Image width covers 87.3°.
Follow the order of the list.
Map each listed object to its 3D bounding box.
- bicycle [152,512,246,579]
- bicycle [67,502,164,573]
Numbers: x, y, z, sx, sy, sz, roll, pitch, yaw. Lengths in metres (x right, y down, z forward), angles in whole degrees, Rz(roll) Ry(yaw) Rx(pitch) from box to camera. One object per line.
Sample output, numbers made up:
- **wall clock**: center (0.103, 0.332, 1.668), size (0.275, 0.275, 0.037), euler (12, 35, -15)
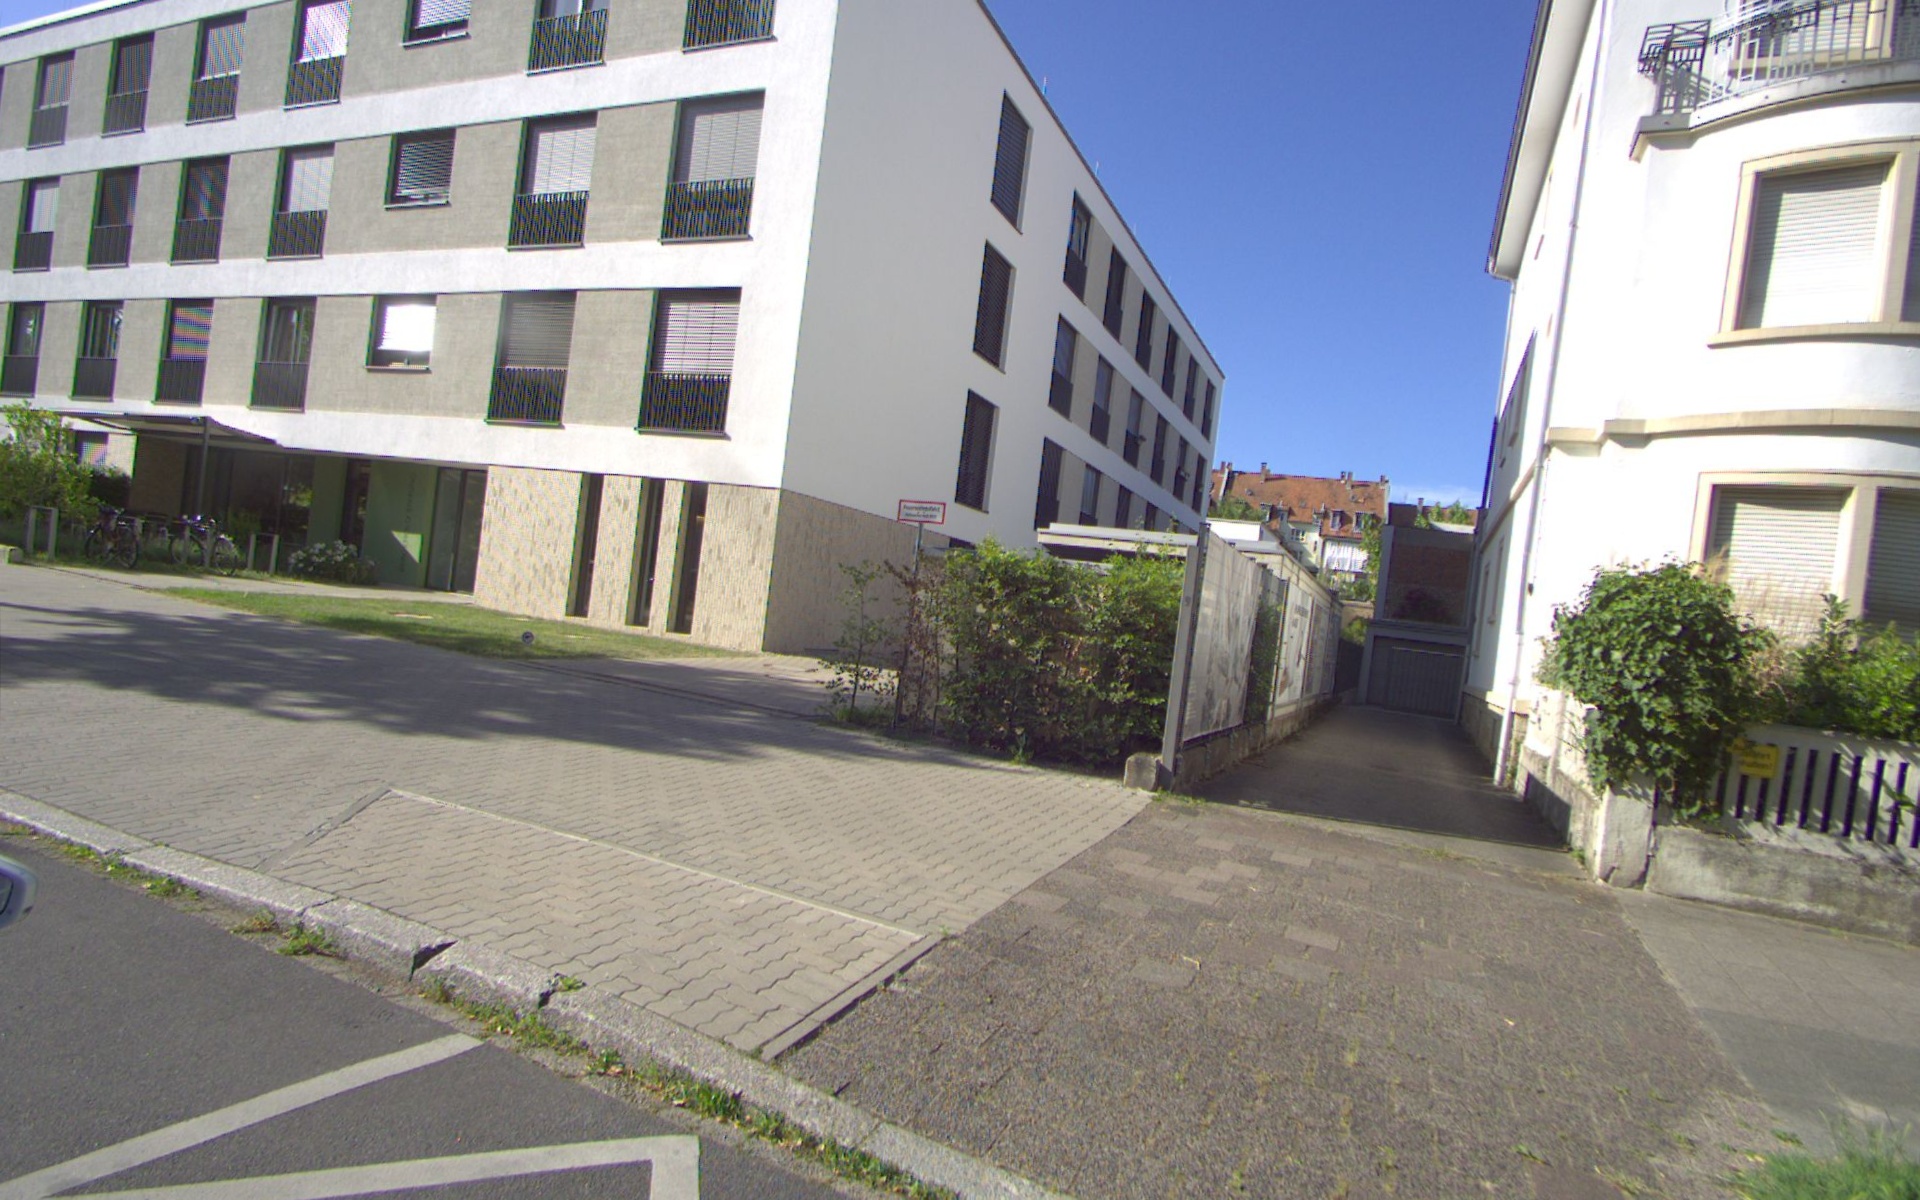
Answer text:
- **bicycle**: center (-14.465, -1.037, 19.122), size (1.747, 1.068, 0.547), euler (7, 2, 22)
- **bicycle**: center (-14.993, -1.109, 17.862), size (1.660, 1.068, 0.547), euler (7, 2, 22)
